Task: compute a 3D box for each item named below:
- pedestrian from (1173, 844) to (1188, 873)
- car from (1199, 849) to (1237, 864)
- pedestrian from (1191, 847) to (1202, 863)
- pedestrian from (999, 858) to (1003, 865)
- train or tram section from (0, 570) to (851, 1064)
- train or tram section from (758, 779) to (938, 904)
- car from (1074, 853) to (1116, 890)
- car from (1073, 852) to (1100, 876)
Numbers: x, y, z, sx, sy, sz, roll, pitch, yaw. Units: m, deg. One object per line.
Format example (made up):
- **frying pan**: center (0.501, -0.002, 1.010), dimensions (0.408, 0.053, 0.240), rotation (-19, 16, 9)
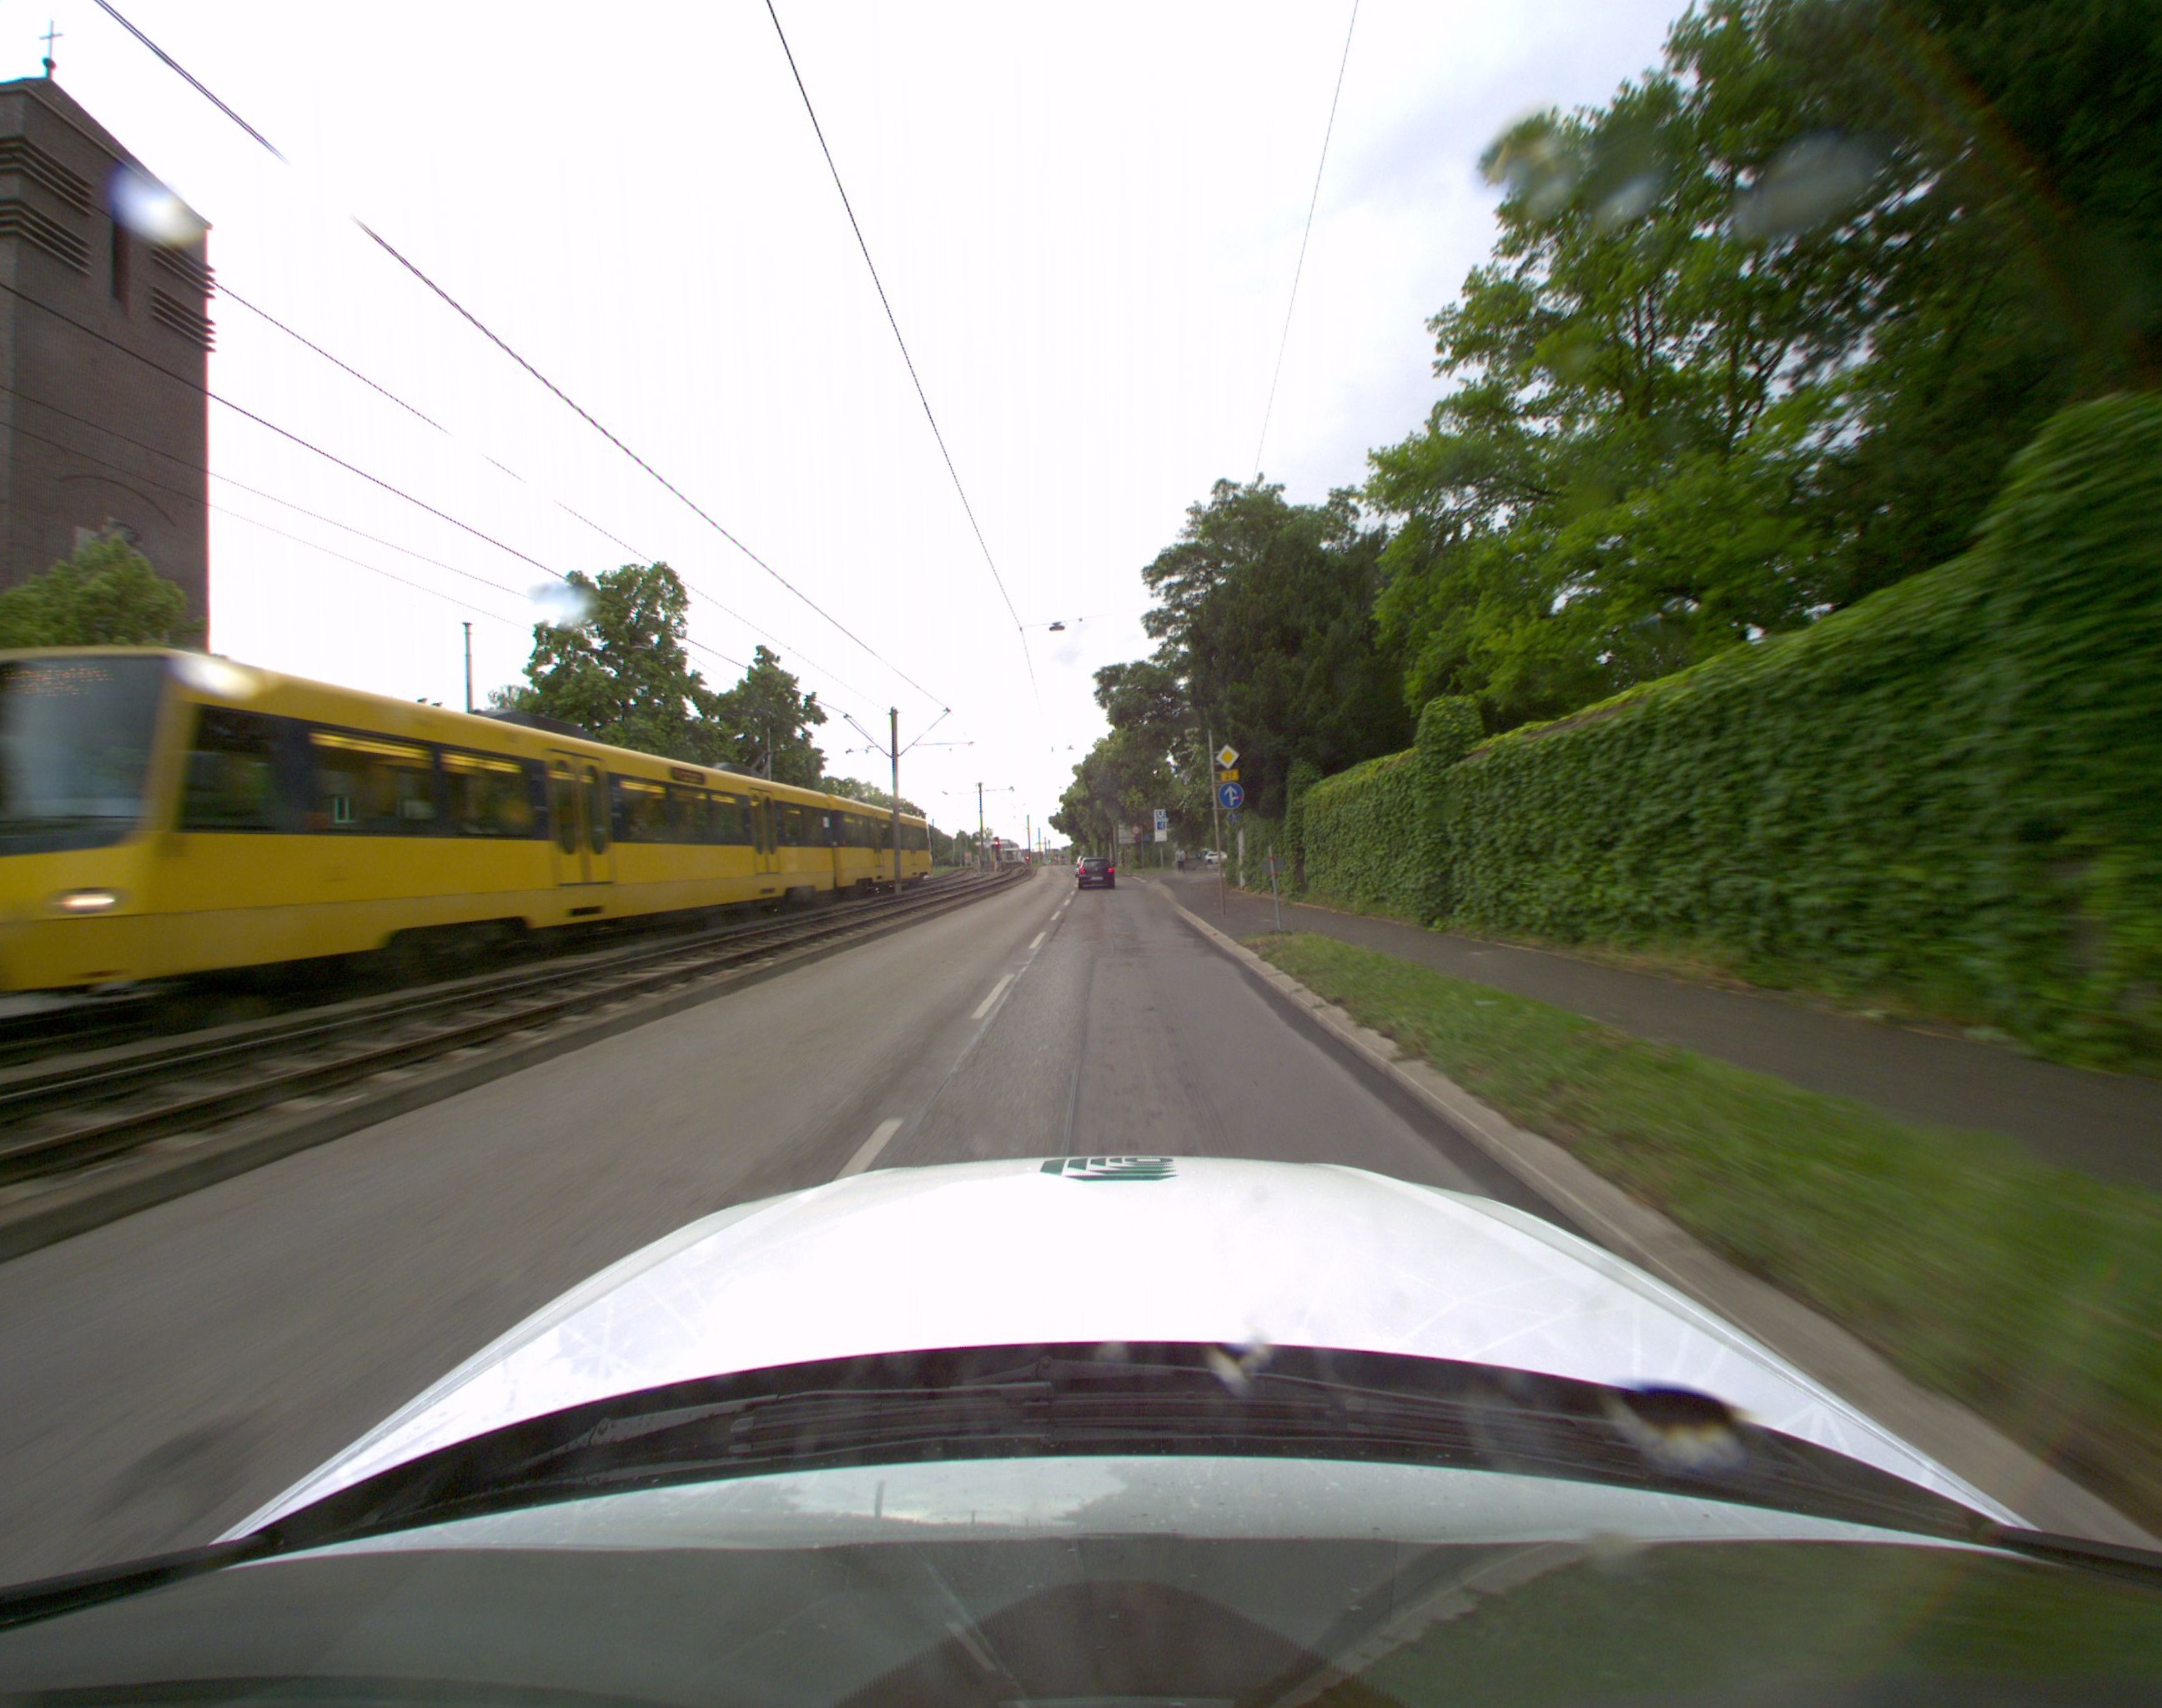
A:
- **pedestrian**: center (6.542, 0.310, 53.439), dimensions (0.852, 1.854, 0.737), rotation (-2, 0, 1)
- **car**: center (17.291, 0.358, 102.768), dimensions (1.957, 1.834, 4.414), rotation (0, 0, -43)
- **pedestrian**: center (14.743, 0.118, 103.618), dimensions (0.965, 2.013, 0.942), rotation (-1, 0, -26)
- **pedestrian**: center (-13.764, 1.247, 139.878), dimensions (0.708, 1.225, 0.619), rotation (-2, 0, -2)
- **train or tram section**: center (-9.188, -0.332, 16.617), dimensions (2.818, 3.976, 20.032), rotation (-2, 0, 1)
- **train or tram section**: center (-9.139, -0.467, 35.424), dimensions (2.820, 3.976, 17.868), rotation (-2, 0, -1)
- **car**: center (0.710, 0.785, 37.808), dimensions (1.719, 1.540, 4.004), rotation (-2, 0, 3)
- **car**: center (0.371, 0.688, 57.769), dimensions (1.683, 1.517, 3.997), rotation (-2, 0, -2)
